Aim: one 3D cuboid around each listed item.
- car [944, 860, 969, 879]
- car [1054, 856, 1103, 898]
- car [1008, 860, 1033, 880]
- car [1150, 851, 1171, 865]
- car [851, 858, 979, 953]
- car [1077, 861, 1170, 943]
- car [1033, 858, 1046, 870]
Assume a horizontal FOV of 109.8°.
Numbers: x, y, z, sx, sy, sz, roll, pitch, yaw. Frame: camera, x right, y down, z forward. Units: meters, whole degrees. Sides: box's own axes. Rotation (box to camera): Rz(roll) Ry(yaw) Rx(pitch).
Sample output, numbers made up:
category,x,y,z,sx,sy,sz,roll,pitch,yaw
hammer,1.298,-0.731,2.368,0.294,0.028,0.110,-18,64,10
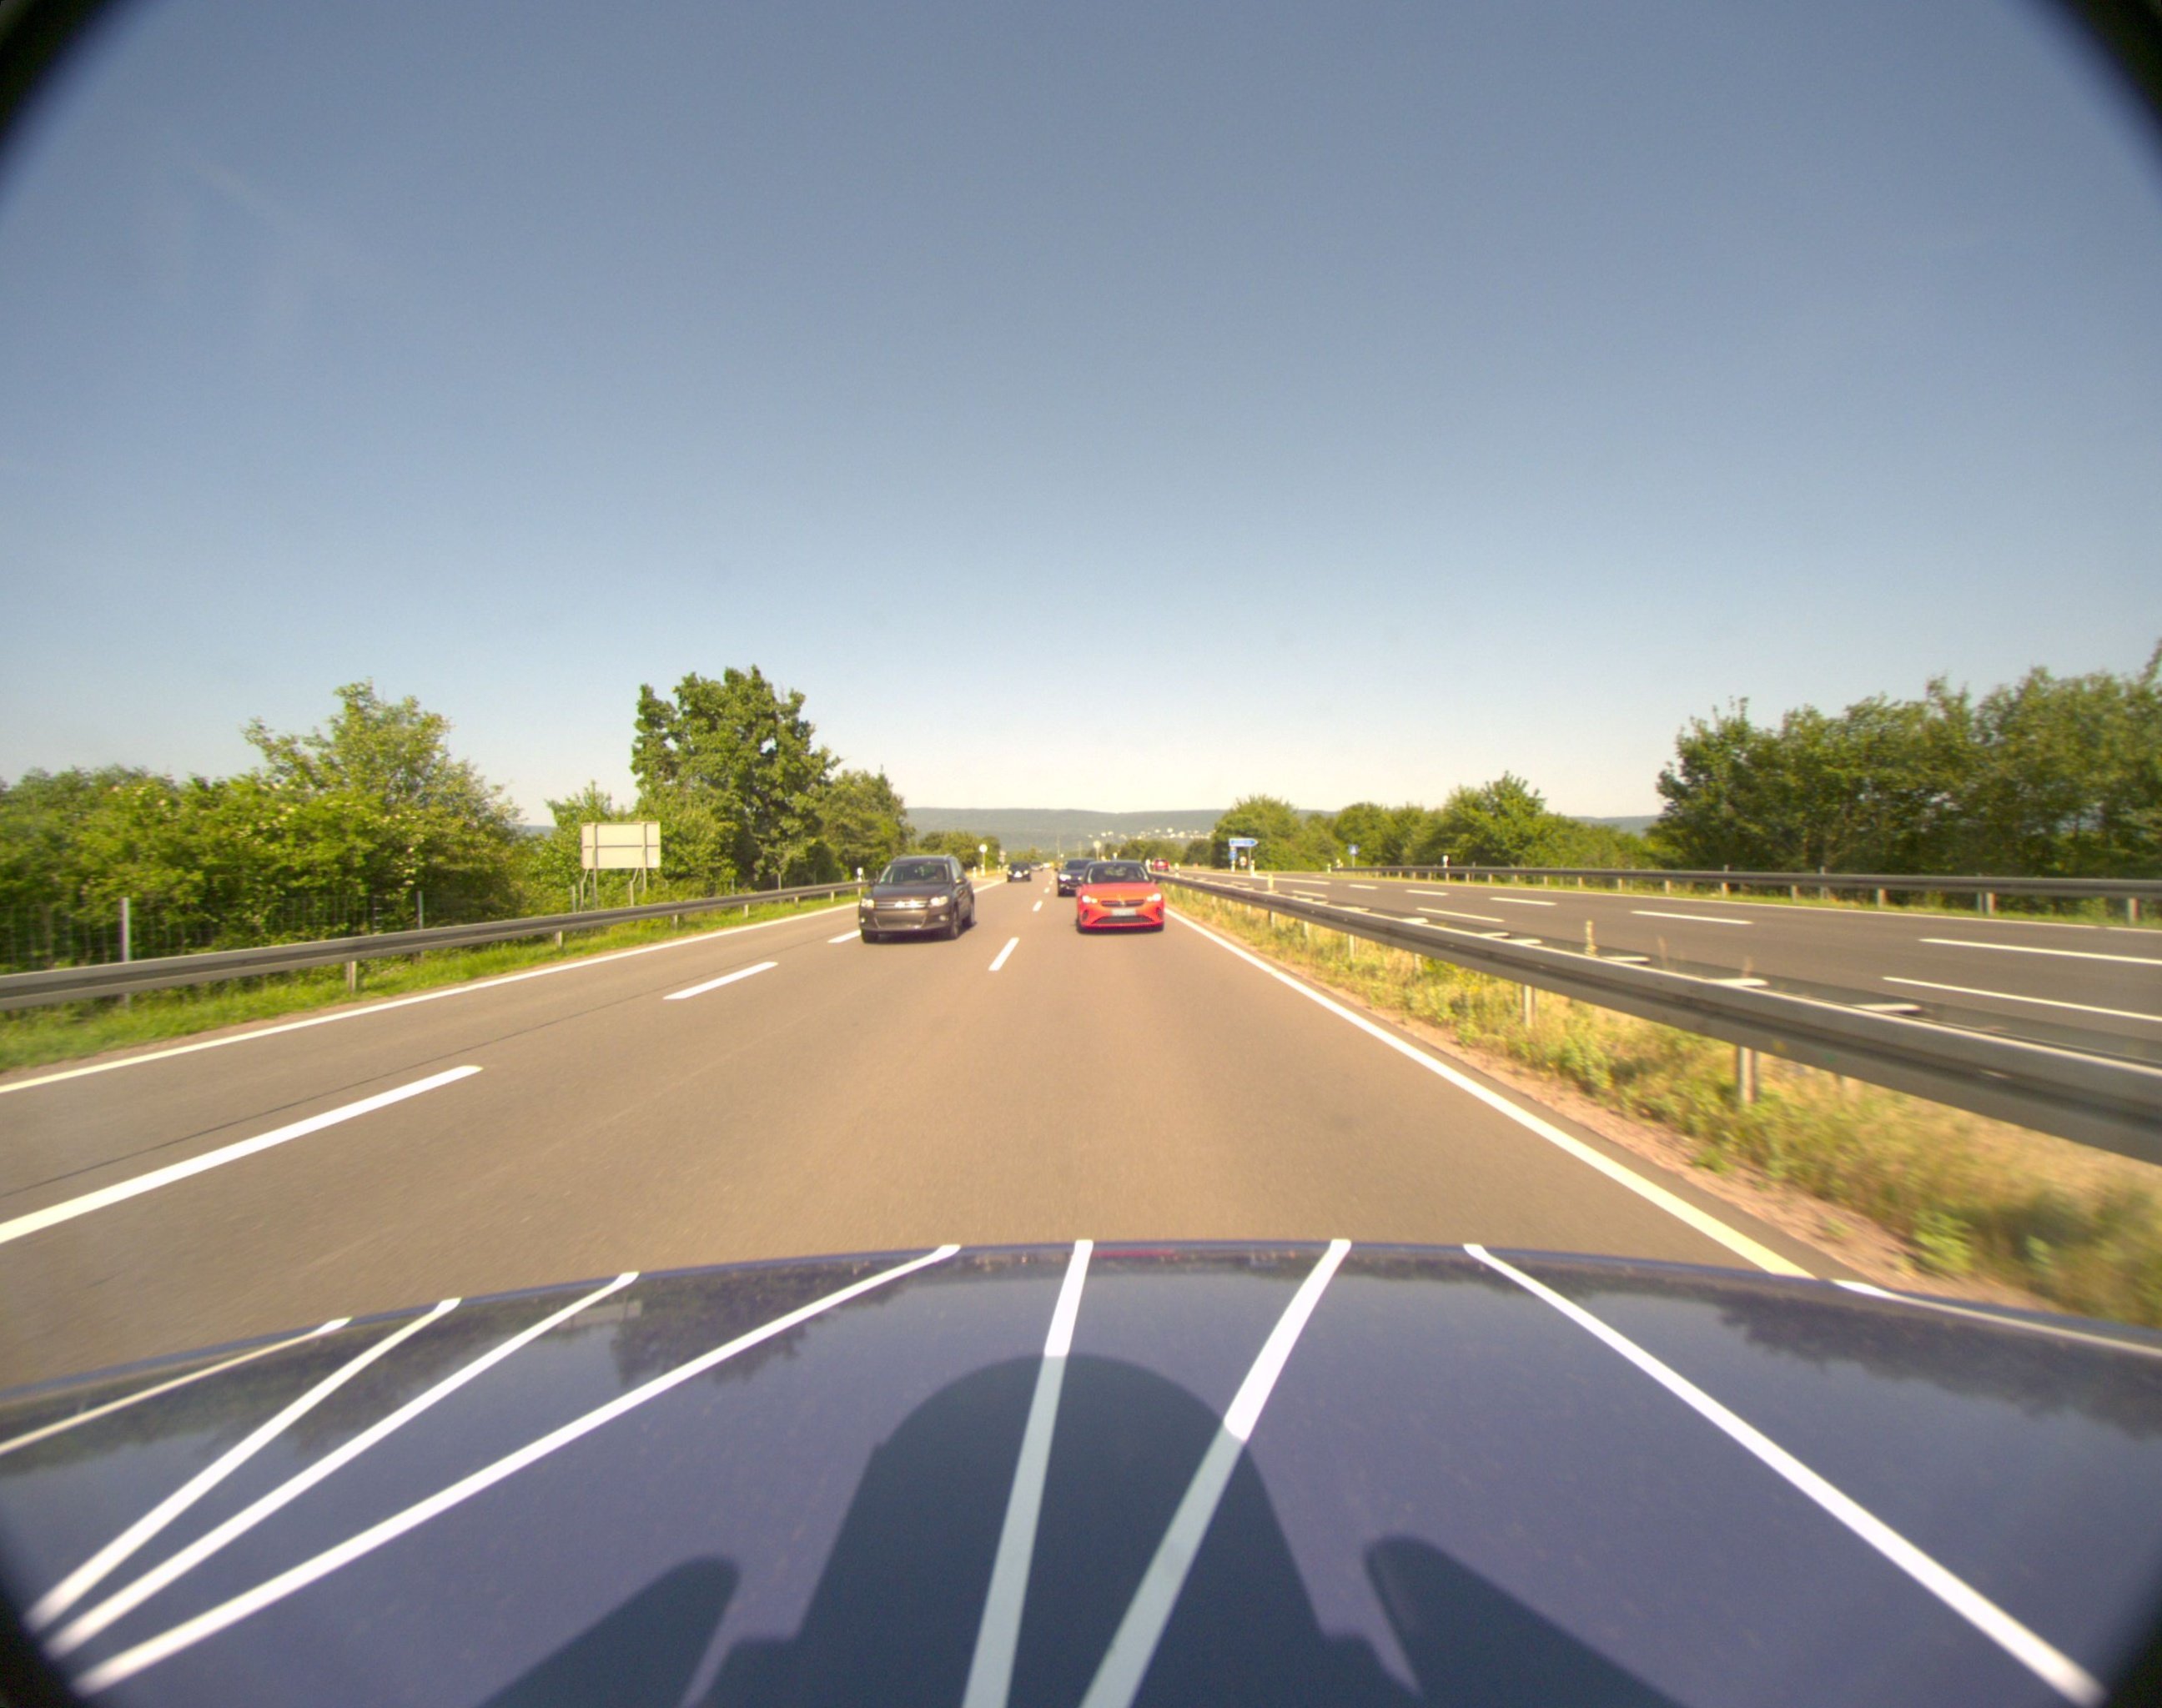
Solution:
category,x,y,z,sx,sy,sz,roll,pitch,yaw
car,-11.365,1.387,69.084,1.866,1.656,3.995,-2,0,-14
car,-0.122,0.877,30.492,1.788,1.524,4.375,-2,-1,-1
car,-4.237,1.081,53.609,1.601,1.241,3.999,-2,0,-3
car,9.041,0.427,86.546,1.647,1.565,4.263,-2,0,-2
car,-3.308,0.947,15.918,1.790,1.637,4.147,-2,0,-1
car,0.795,0.926,16.537,1.713,1.429,4.411,-2,0,0
car,-5.922,1.408,108.696,1.768,1.652,3.998,-2,0,-4
